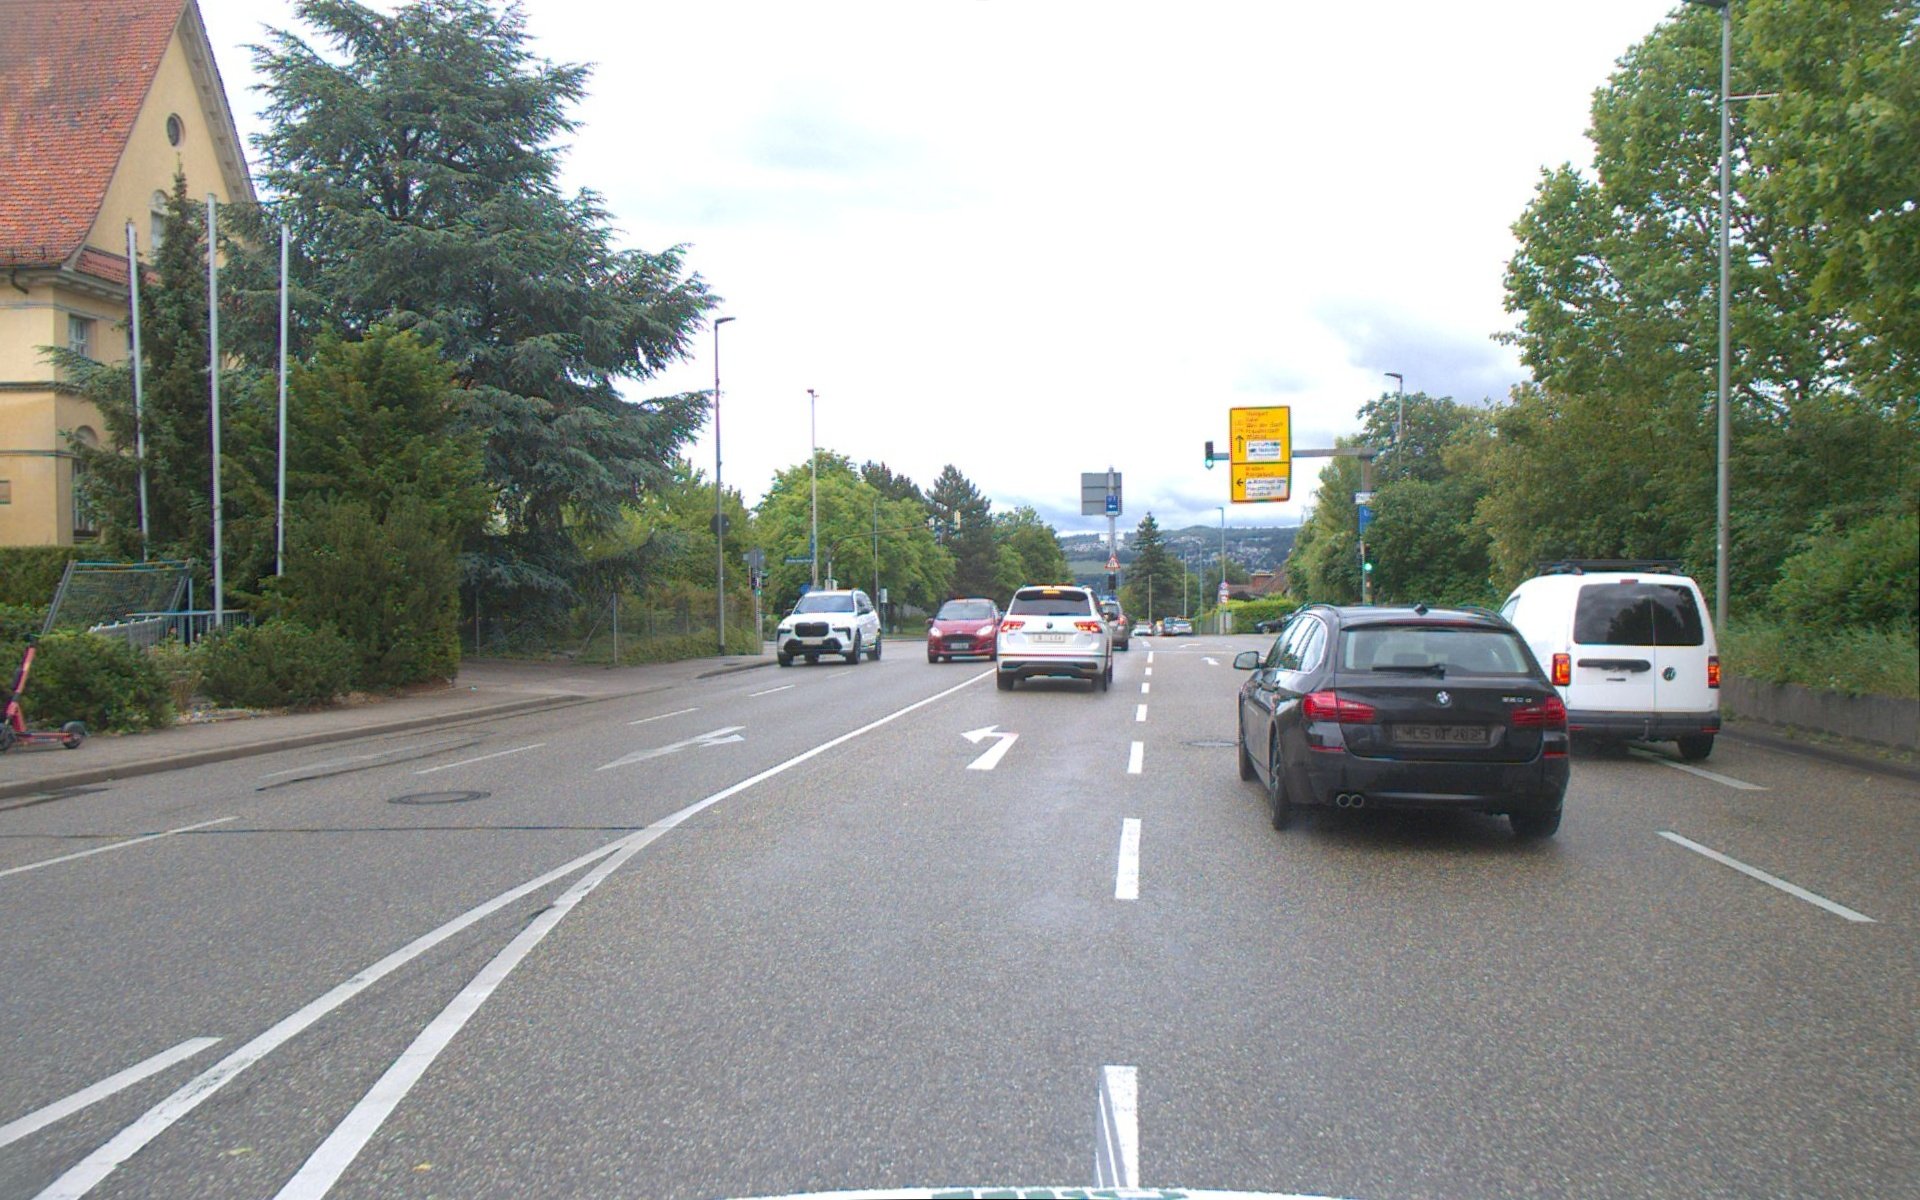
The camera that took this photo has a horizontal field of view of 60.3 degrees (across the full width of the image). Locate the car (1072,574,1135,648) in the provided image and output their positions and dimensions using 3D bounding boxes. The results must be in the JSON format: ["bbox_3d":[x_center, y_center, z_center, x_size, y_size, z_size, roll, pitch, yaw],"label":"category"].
[{"bbox_3d":[4.375,0.299,50.155,1.772,2.124,3.853,0,1,7],"label":"car"}]

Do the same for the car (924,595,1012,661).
[{"bbox_3d":[0.249,0.641,39.990,1.645,1.444,3.844,-3,0,7],"label":"car"}]

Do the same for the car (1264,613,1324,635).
[{"bbox_3d":[22.421,1.579,111.244,3.902,1.400,1.586,1,0,10],"label":"car"}]

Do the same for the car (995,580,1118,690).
[{"bbox_3d":[1.686,0.542,27.745,1.829,1.703,4.003,0,0,7],"label":"car"}]

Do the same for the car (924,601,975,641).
[{"bbox_3d":[-0.413,0.843,67.334,1.597,1.482,3.704,-3,0,6],"label":"car"}]

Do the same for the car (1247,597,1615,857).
[{"bbox_3d":[3.101,0.742,11.711,1.858,1.467,4.003,1,0,7],"label":"car"}]

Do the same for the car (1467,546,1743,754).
[{"bbox_3d":[6.638,0.406,17.448,1.727,1.910,3.809,0,2,6],"label":"car"}]

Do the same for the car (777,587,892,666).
[{"bbox_3d":[-3.088,0.626,41.822,1.876,1.793,5.147,-3,0,7],"label":"car"}]
